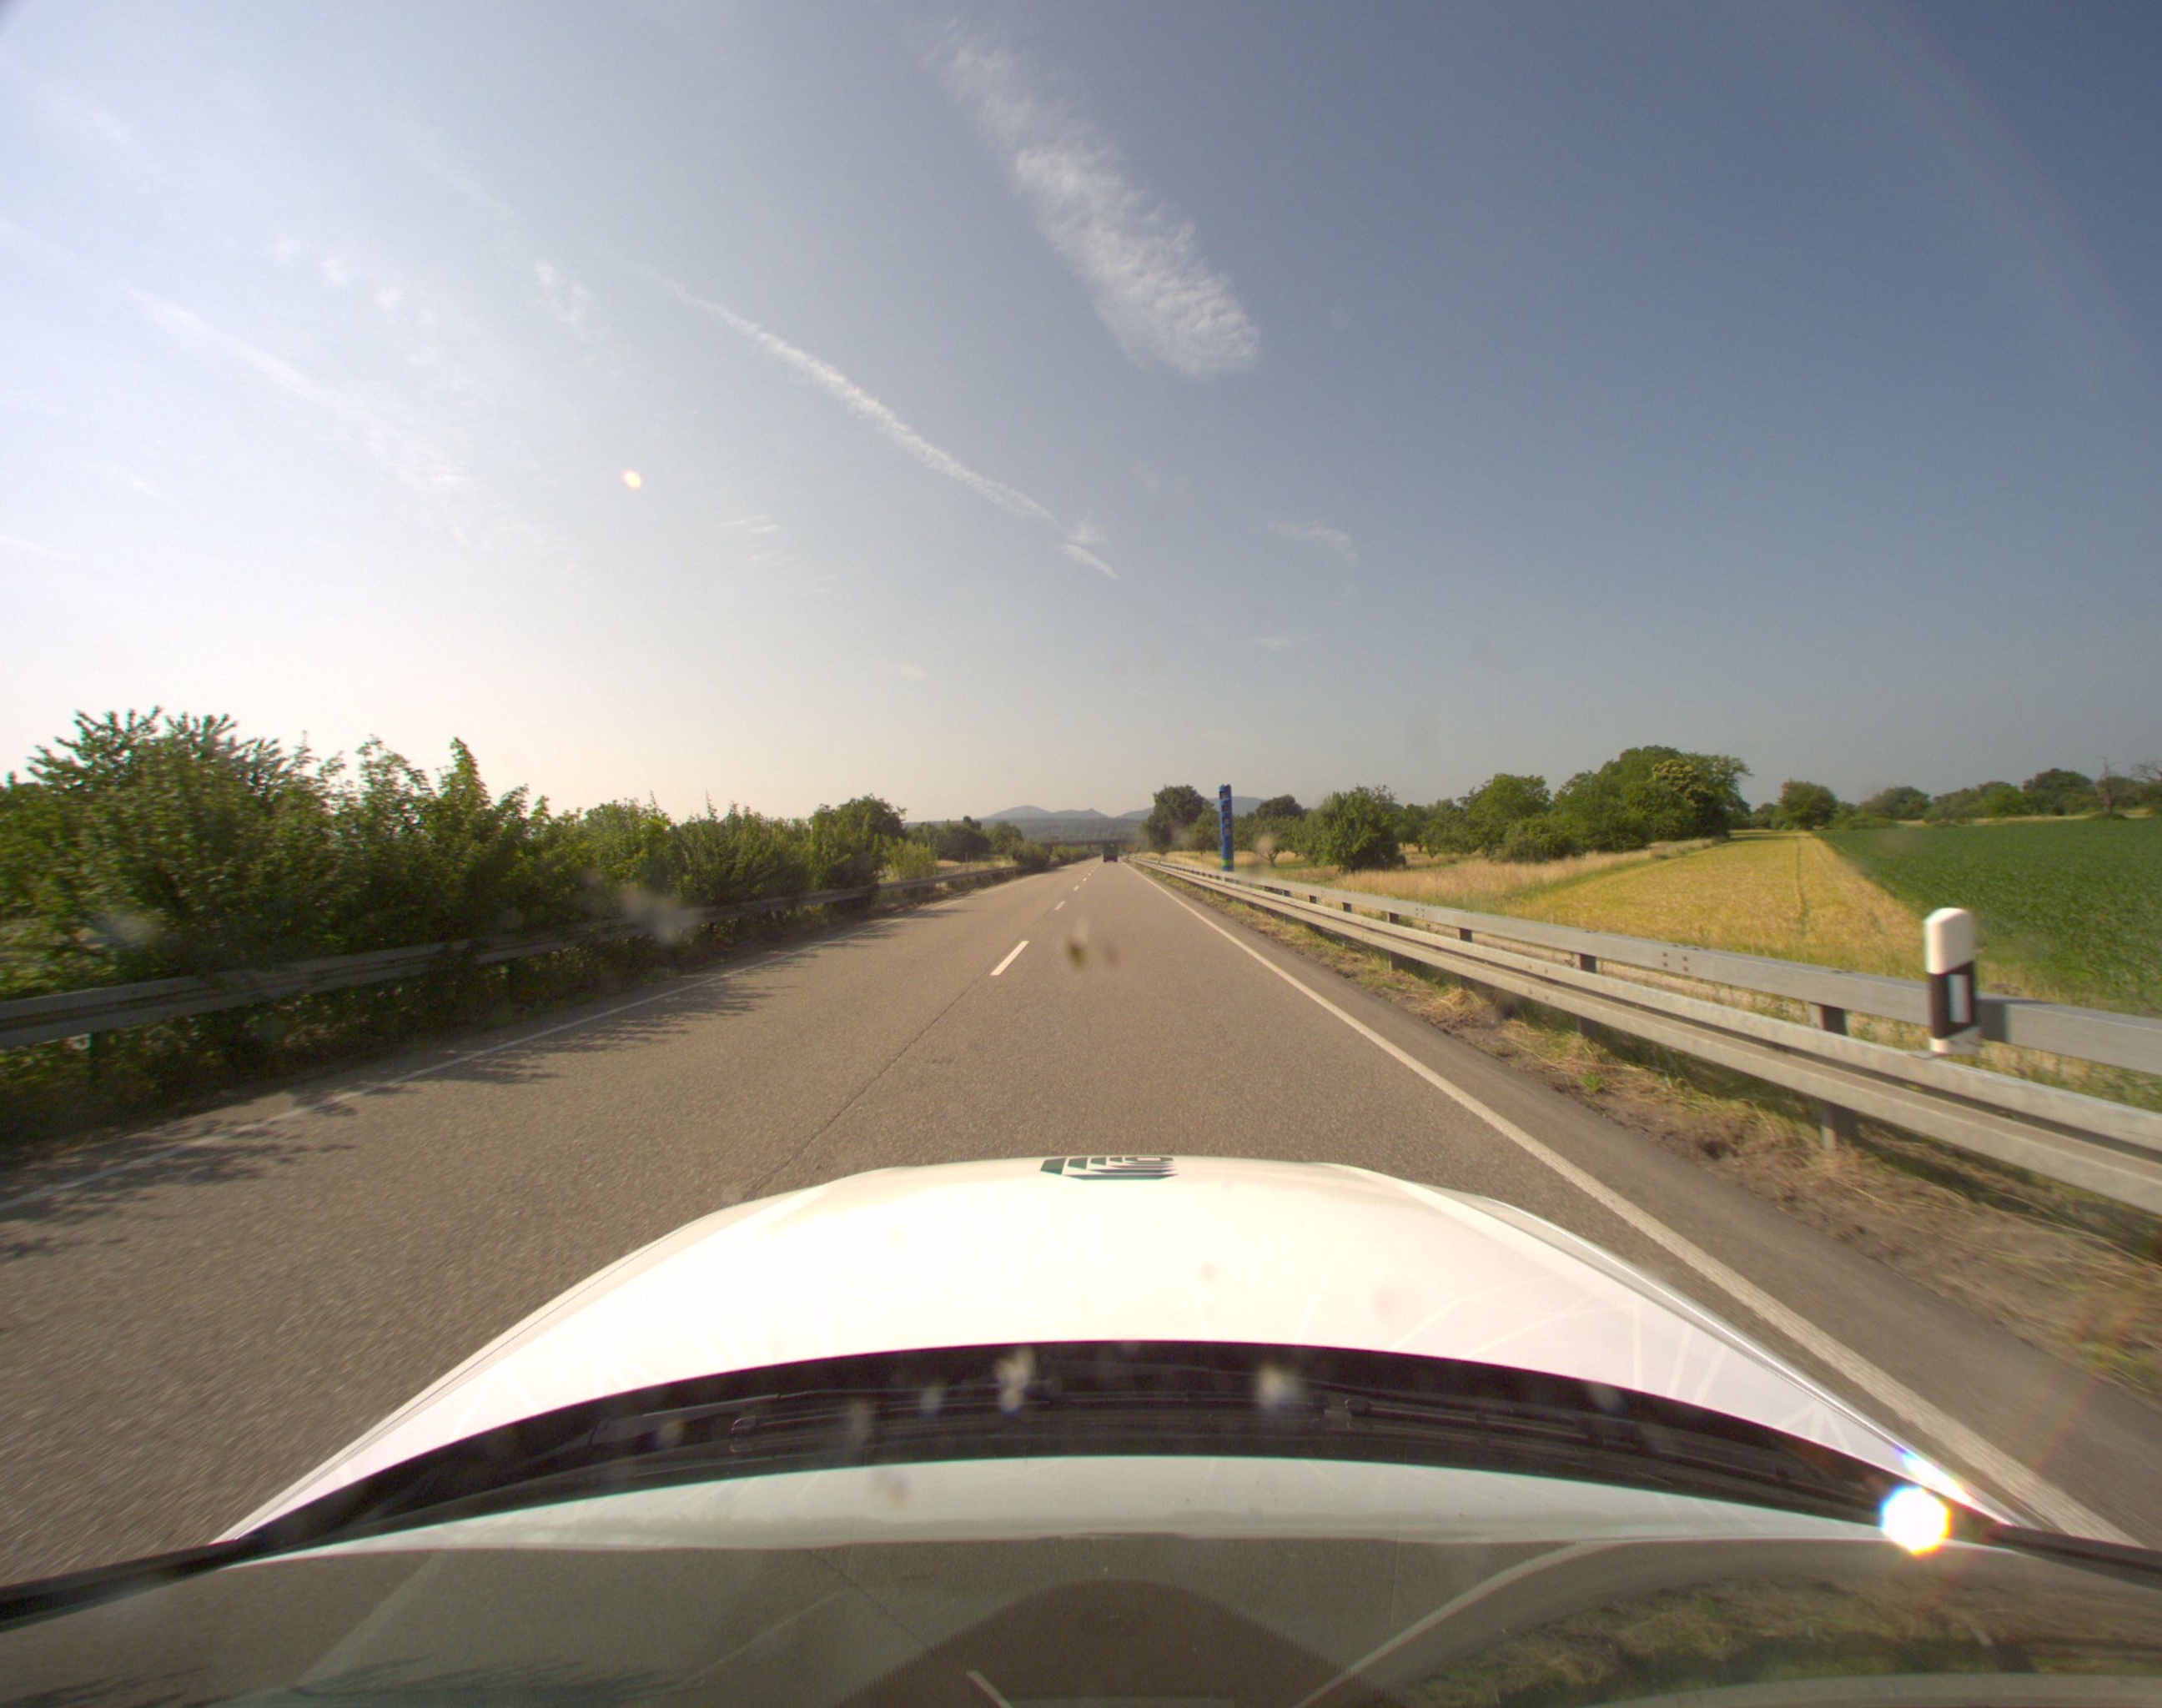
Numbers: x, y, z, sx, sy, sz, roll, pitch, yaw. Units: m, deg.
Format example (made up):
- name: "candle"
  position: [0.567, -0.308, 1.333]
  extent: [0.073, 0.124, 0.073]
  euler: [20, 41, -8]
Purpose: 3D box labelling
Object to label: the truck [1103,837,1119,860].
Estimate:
- name: "truck"
  position: [5.323, -1.004, 143.624]
  extent: [2.711, 3.965, 10.423]
  euler: [0, 1, 2]
